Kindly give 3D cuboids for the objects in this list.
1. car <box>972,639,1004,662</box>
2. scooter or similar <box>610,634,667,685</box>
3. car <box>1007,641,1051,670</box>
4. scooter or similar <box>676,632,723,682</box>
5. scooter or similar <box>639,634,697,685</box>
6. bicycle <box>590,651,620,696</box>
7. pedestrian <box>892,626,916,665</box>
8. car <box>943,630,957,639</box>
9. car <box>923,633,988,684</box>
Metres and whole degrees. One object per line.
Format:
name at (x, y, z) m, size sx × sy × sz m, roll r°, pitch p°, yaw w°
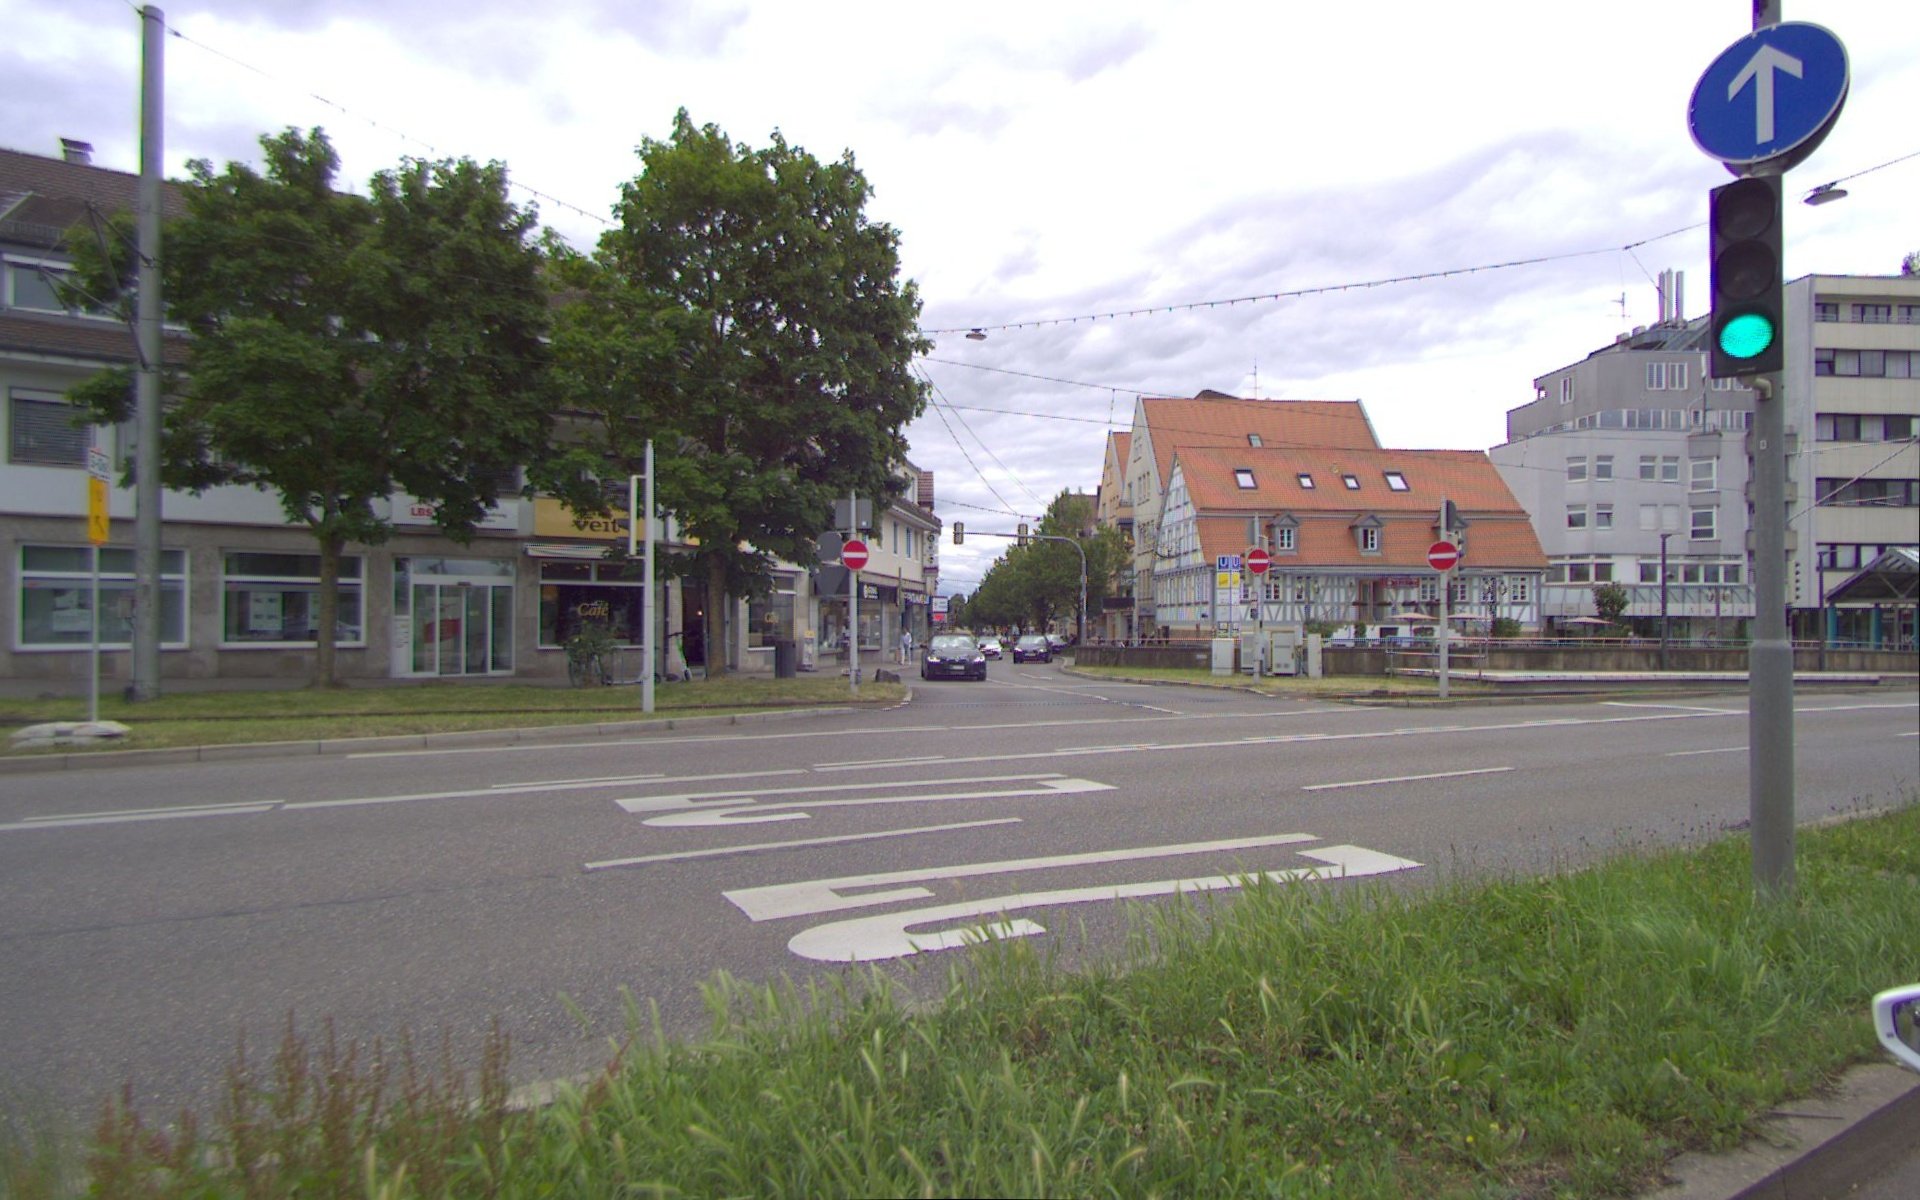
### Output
car at (1.791, 3.166, 63.532) m, size 1.947 × 1.312 × 3.912 m, roll 1°, pitch -1°, yaw 2°
scooter or similar at (-7.094, 1.306, 22.151) m, size 1.158 × 1.100 × 0.601 m, roll 1°, pitch -1°, yaw -19°
car at (3.389, 2.724, 50.089) m, size 1.947 × 1.312 × 3.912 m, roll 1°, pitch -1°, yaw 0°
scooter or similar at (-5.900, 1.285, 22.757) m, size 0.978 × 1.100 × 0.422 m, roll 1°, pitch -1°, yaw -24°
scooter or similar at (-6.192, 1.261, 21.350) m, size 1.157 × 1.059 × 0.490 m, roll 1°, pitch -1°, yaw -16°
bicycle at (-6.995, 1.439, 19.790) m, size 0.419 × 0.815 × 1.255 m, roll 1°, pitch -1°, yaw -25°
pedestrian at (-2.484, 2.007, 44.580) m, size 0.858 × 1.692 × 0.859 m, roll 0°, pitch -1°, yaw 11°
car at (-1.422, 4.830, 141.164) m, size 1.948 × 1.312 × 3.910 m, roll 1°, pitch -1°, yaw -3°
car at (-0.074, 1.747, 30.812) m, size 1.790 × 1.399 × 4.685 m, roll 1°, pitch -2°, yaw 2°
